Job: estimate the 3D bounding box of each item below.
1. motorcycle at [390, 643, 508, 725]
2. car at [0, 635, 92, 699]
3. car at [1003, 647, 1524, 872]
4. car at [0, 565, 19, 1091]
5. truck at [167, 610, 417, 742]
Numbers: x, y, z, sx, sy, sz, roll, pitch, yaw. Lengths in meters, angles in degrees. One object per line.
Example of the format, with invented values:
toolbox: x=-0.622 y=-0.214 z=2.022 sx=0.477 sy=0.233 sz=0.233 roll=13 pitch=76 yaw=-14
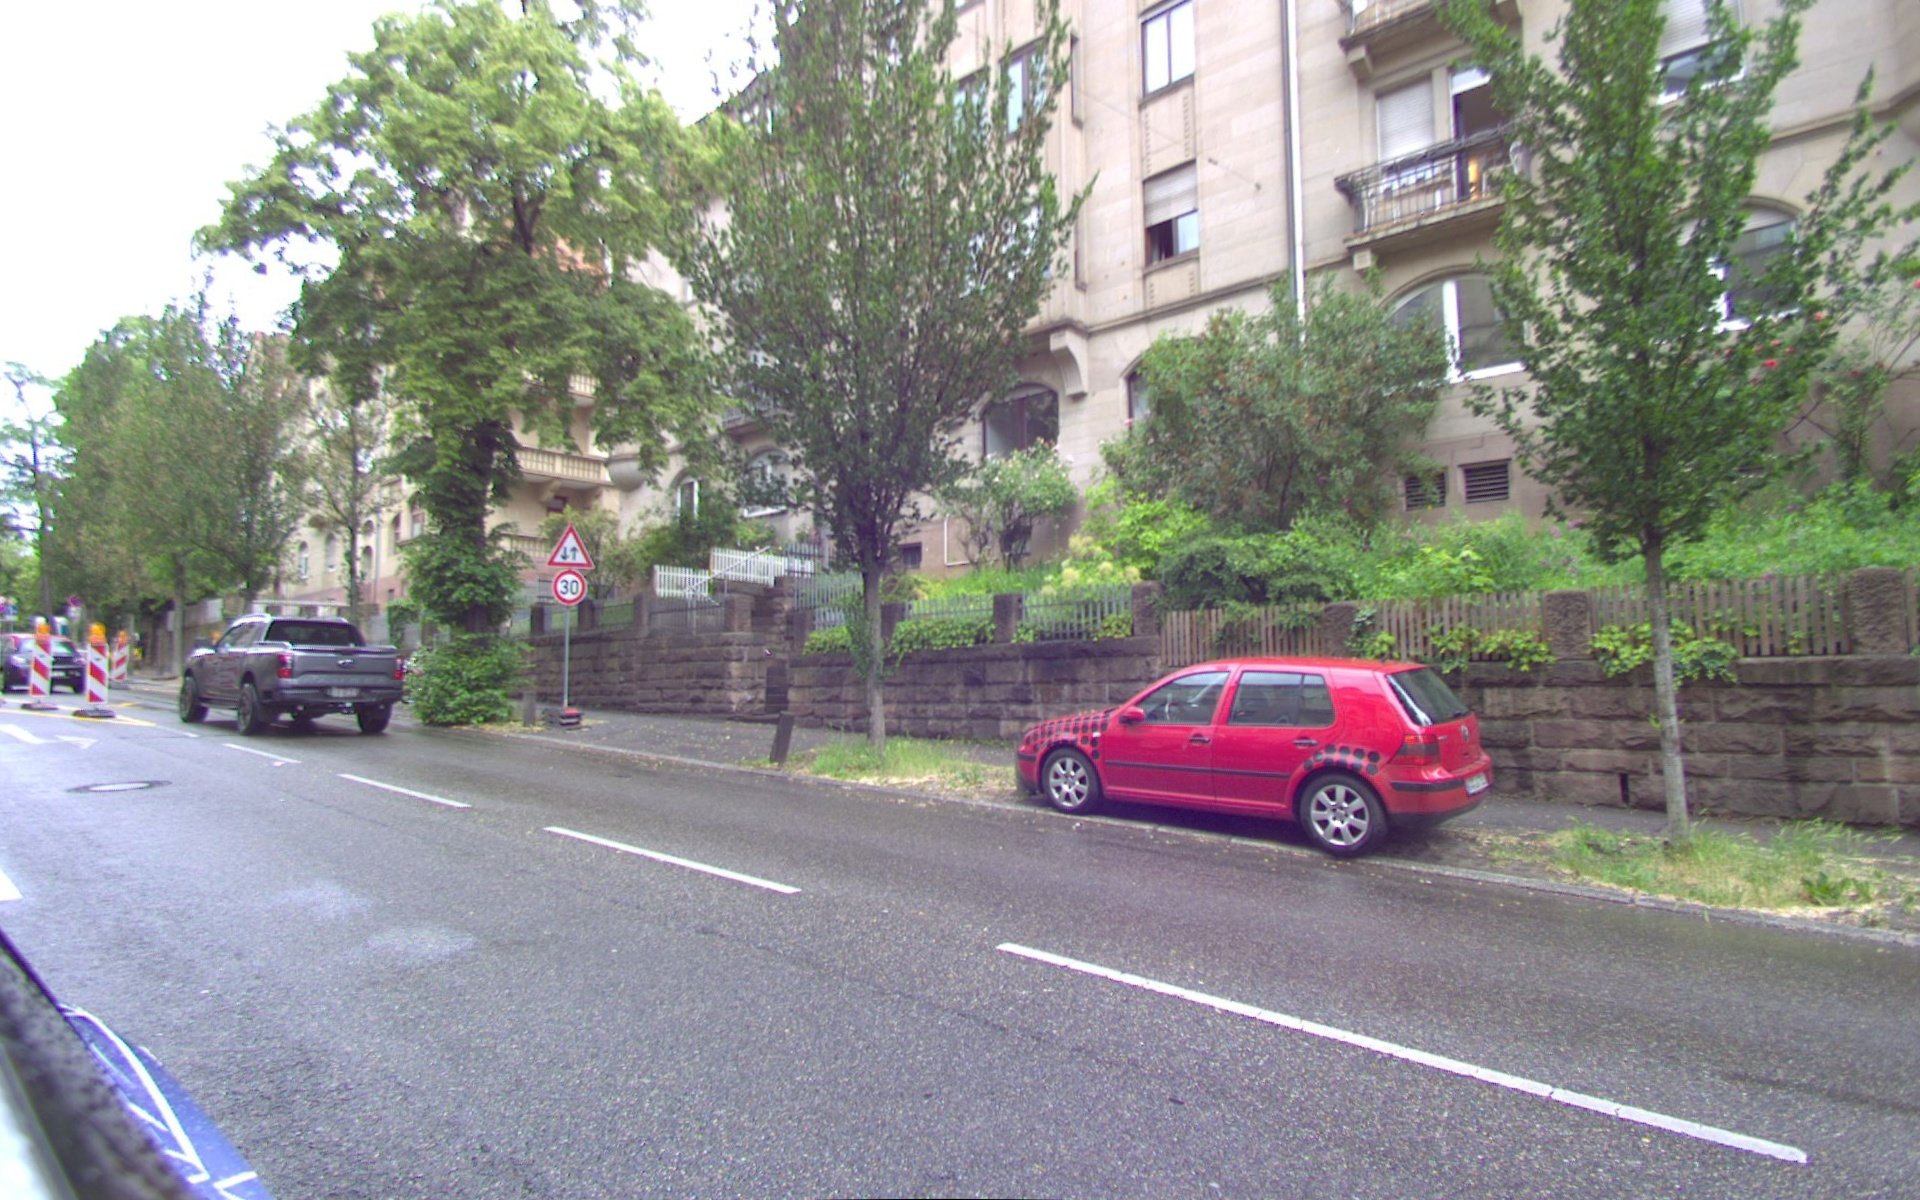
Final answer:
motorcycle: x=-9.715 y=1.541 z=19.155 sx=3.058 sy=1.425 sz=0.792 roll=-2 pitch=-2 yaw=38
car: x=-23.452 y=1.677 z=25.528 sx=3.652 sy=1.483 sz=1.649 roll=-2 pitch=-6 yaw=39
car: x=2.437 y=1.165 z=8.804 sx=4.062 sy=1.462 sz=1.596 roll=-2 pitch=-3 yaw=42
car: x=-5.347 y=0.763 z=4.113 sx=4.520 sy=1.685 sz=1.799 roll=-2 pitch=-3 yaw=42
truck: x=-11.097 y=1.205 z=16.648 sx=5.150 sy=1.850 sz=2.049 roll=-2 pitch=-6 yaw=41
